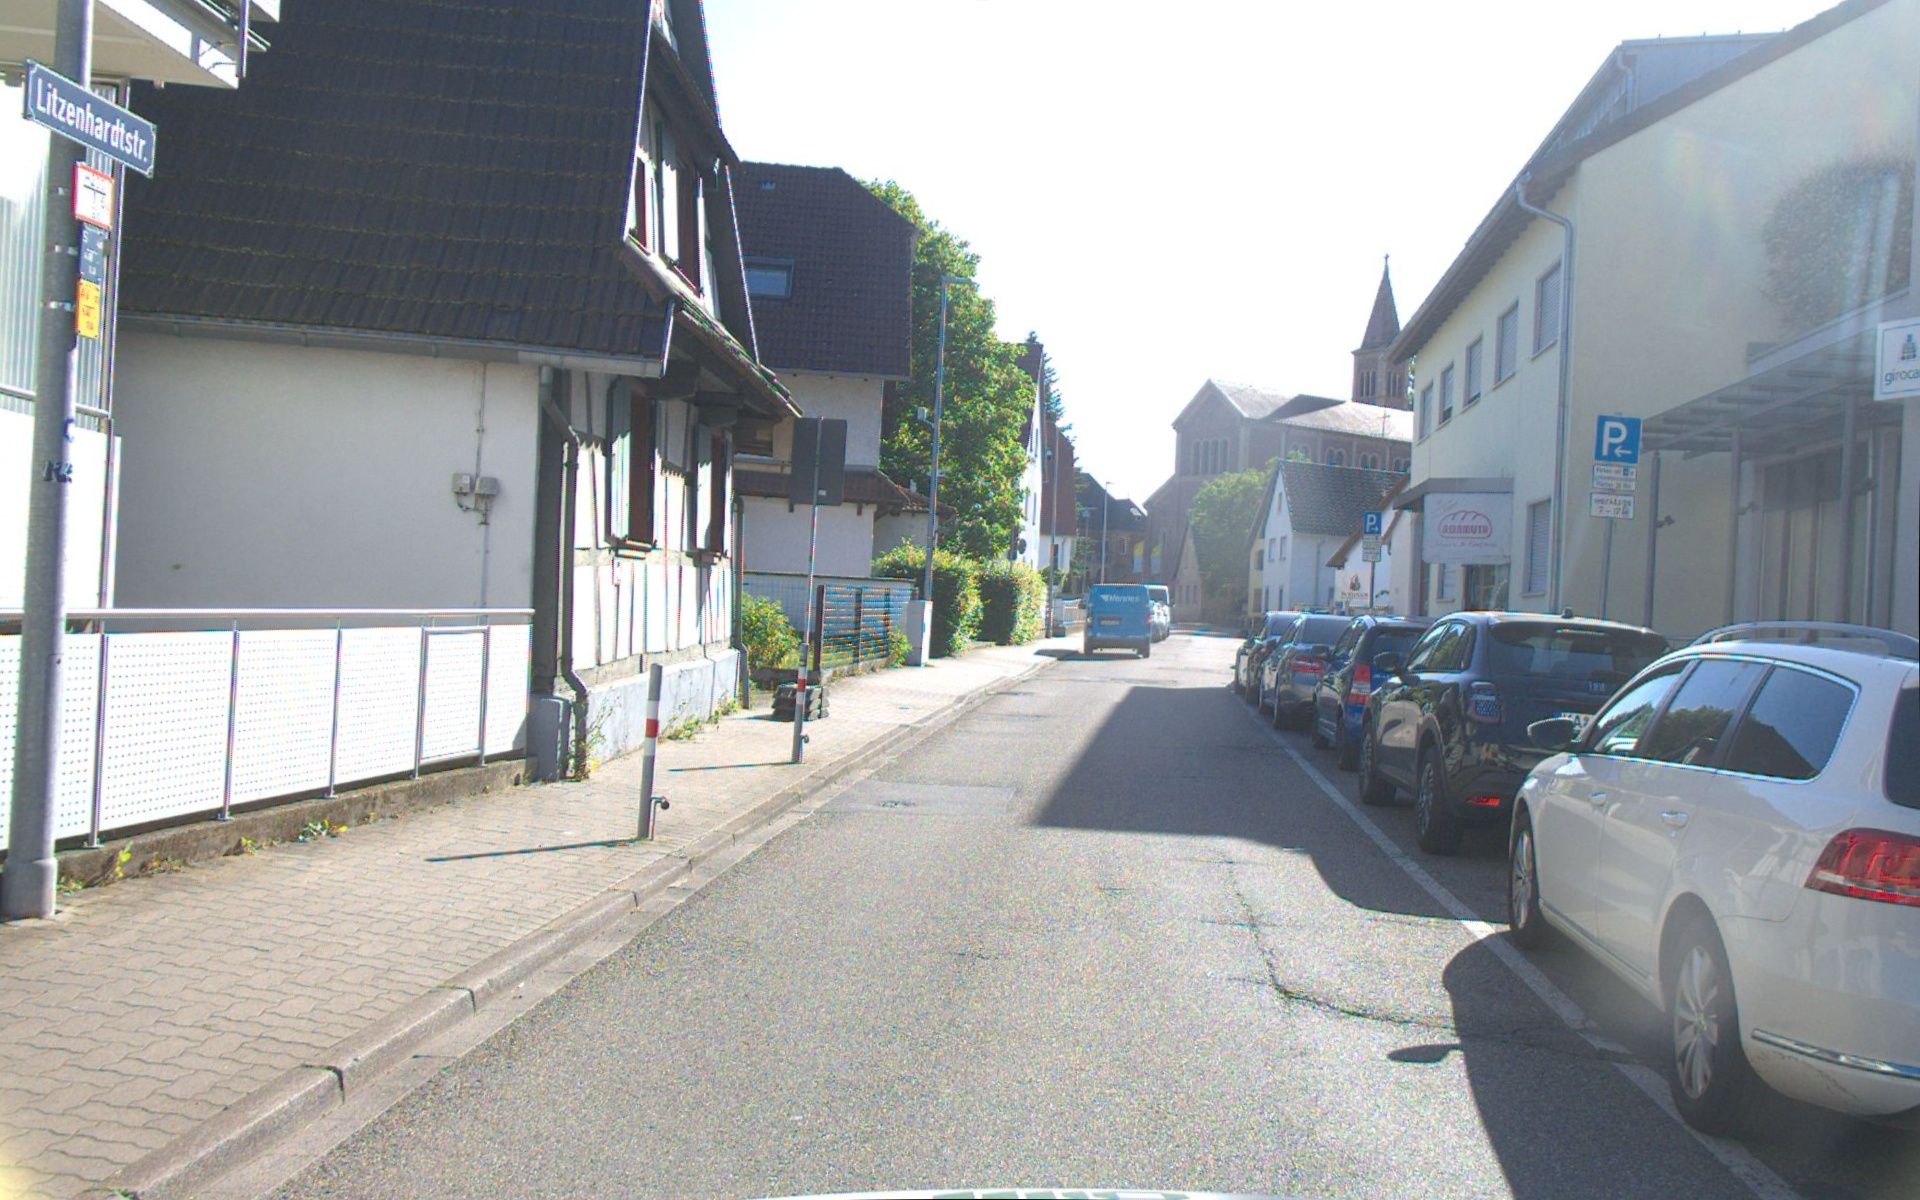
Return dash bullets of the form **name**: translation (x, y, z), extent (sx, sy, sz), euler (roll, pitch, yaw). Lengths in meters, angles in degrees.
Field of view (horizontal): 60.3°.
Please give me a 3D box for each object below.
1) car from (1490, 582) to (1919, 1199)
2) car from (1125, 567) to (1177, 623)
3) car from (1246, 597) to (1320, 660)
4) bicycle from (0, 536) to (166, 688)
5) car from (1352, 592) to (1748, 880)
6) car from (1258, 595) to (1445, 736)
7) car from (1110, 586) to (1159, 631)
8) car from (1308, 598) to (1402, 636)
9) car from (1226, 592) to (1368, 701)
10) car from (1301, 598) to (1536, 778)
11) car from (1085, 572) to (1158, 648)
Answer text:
- **car**: translation (3.247, 0.764, 5.919), extent (1.807, 1.540, 4.510), euler (3, 1, 9)
- **car**: translation (8.807, -0.244, 75.762), extent (2.150, 2.431, 6.069), euler (1, 0, 8)
- **car**: translation (8.805, 0.732, 44.842), extent (1.773, 1.501, 4.663), euler (4, 1, 12)
- **bicycle**: translation (-4.826, 0.045, 8.844), extent (0.479, 0.729, 1.501), euler (4, 0, -4)
- **car**: translation (3.893, 0.777, 11.600), extent (1.576, 1.547, 3.974), euler (4, 1, 5)
- **car**: translation (4.964, 0.755, 21.515), extent (1.770, 1.500, 4.448), euler (4, 1, 7)
- **car**: translation (6.820, 0.318, 64.328), extent (1.678, 1.626, 3.928), euler (2, 0, 8)
- **car**: translation (17.262, 0.744, 72.285), extent (3.830, 1.518, 1.848), euler (2, 0, 17)
- **car**: translation (5.452, 0.726, 27.291), extent (1.770, 1.501, 4.847), euler (4, 0, 6)
- **car**: translation (4.601, 0.802, 17.118), extent (1.689, 1.500, 3.878), euler (4, 1, 7)
- **car**: translation (4.449, 0.248, 45.958), extent (1.862, 1.951, 5.073), euler (2, 0, 5)
